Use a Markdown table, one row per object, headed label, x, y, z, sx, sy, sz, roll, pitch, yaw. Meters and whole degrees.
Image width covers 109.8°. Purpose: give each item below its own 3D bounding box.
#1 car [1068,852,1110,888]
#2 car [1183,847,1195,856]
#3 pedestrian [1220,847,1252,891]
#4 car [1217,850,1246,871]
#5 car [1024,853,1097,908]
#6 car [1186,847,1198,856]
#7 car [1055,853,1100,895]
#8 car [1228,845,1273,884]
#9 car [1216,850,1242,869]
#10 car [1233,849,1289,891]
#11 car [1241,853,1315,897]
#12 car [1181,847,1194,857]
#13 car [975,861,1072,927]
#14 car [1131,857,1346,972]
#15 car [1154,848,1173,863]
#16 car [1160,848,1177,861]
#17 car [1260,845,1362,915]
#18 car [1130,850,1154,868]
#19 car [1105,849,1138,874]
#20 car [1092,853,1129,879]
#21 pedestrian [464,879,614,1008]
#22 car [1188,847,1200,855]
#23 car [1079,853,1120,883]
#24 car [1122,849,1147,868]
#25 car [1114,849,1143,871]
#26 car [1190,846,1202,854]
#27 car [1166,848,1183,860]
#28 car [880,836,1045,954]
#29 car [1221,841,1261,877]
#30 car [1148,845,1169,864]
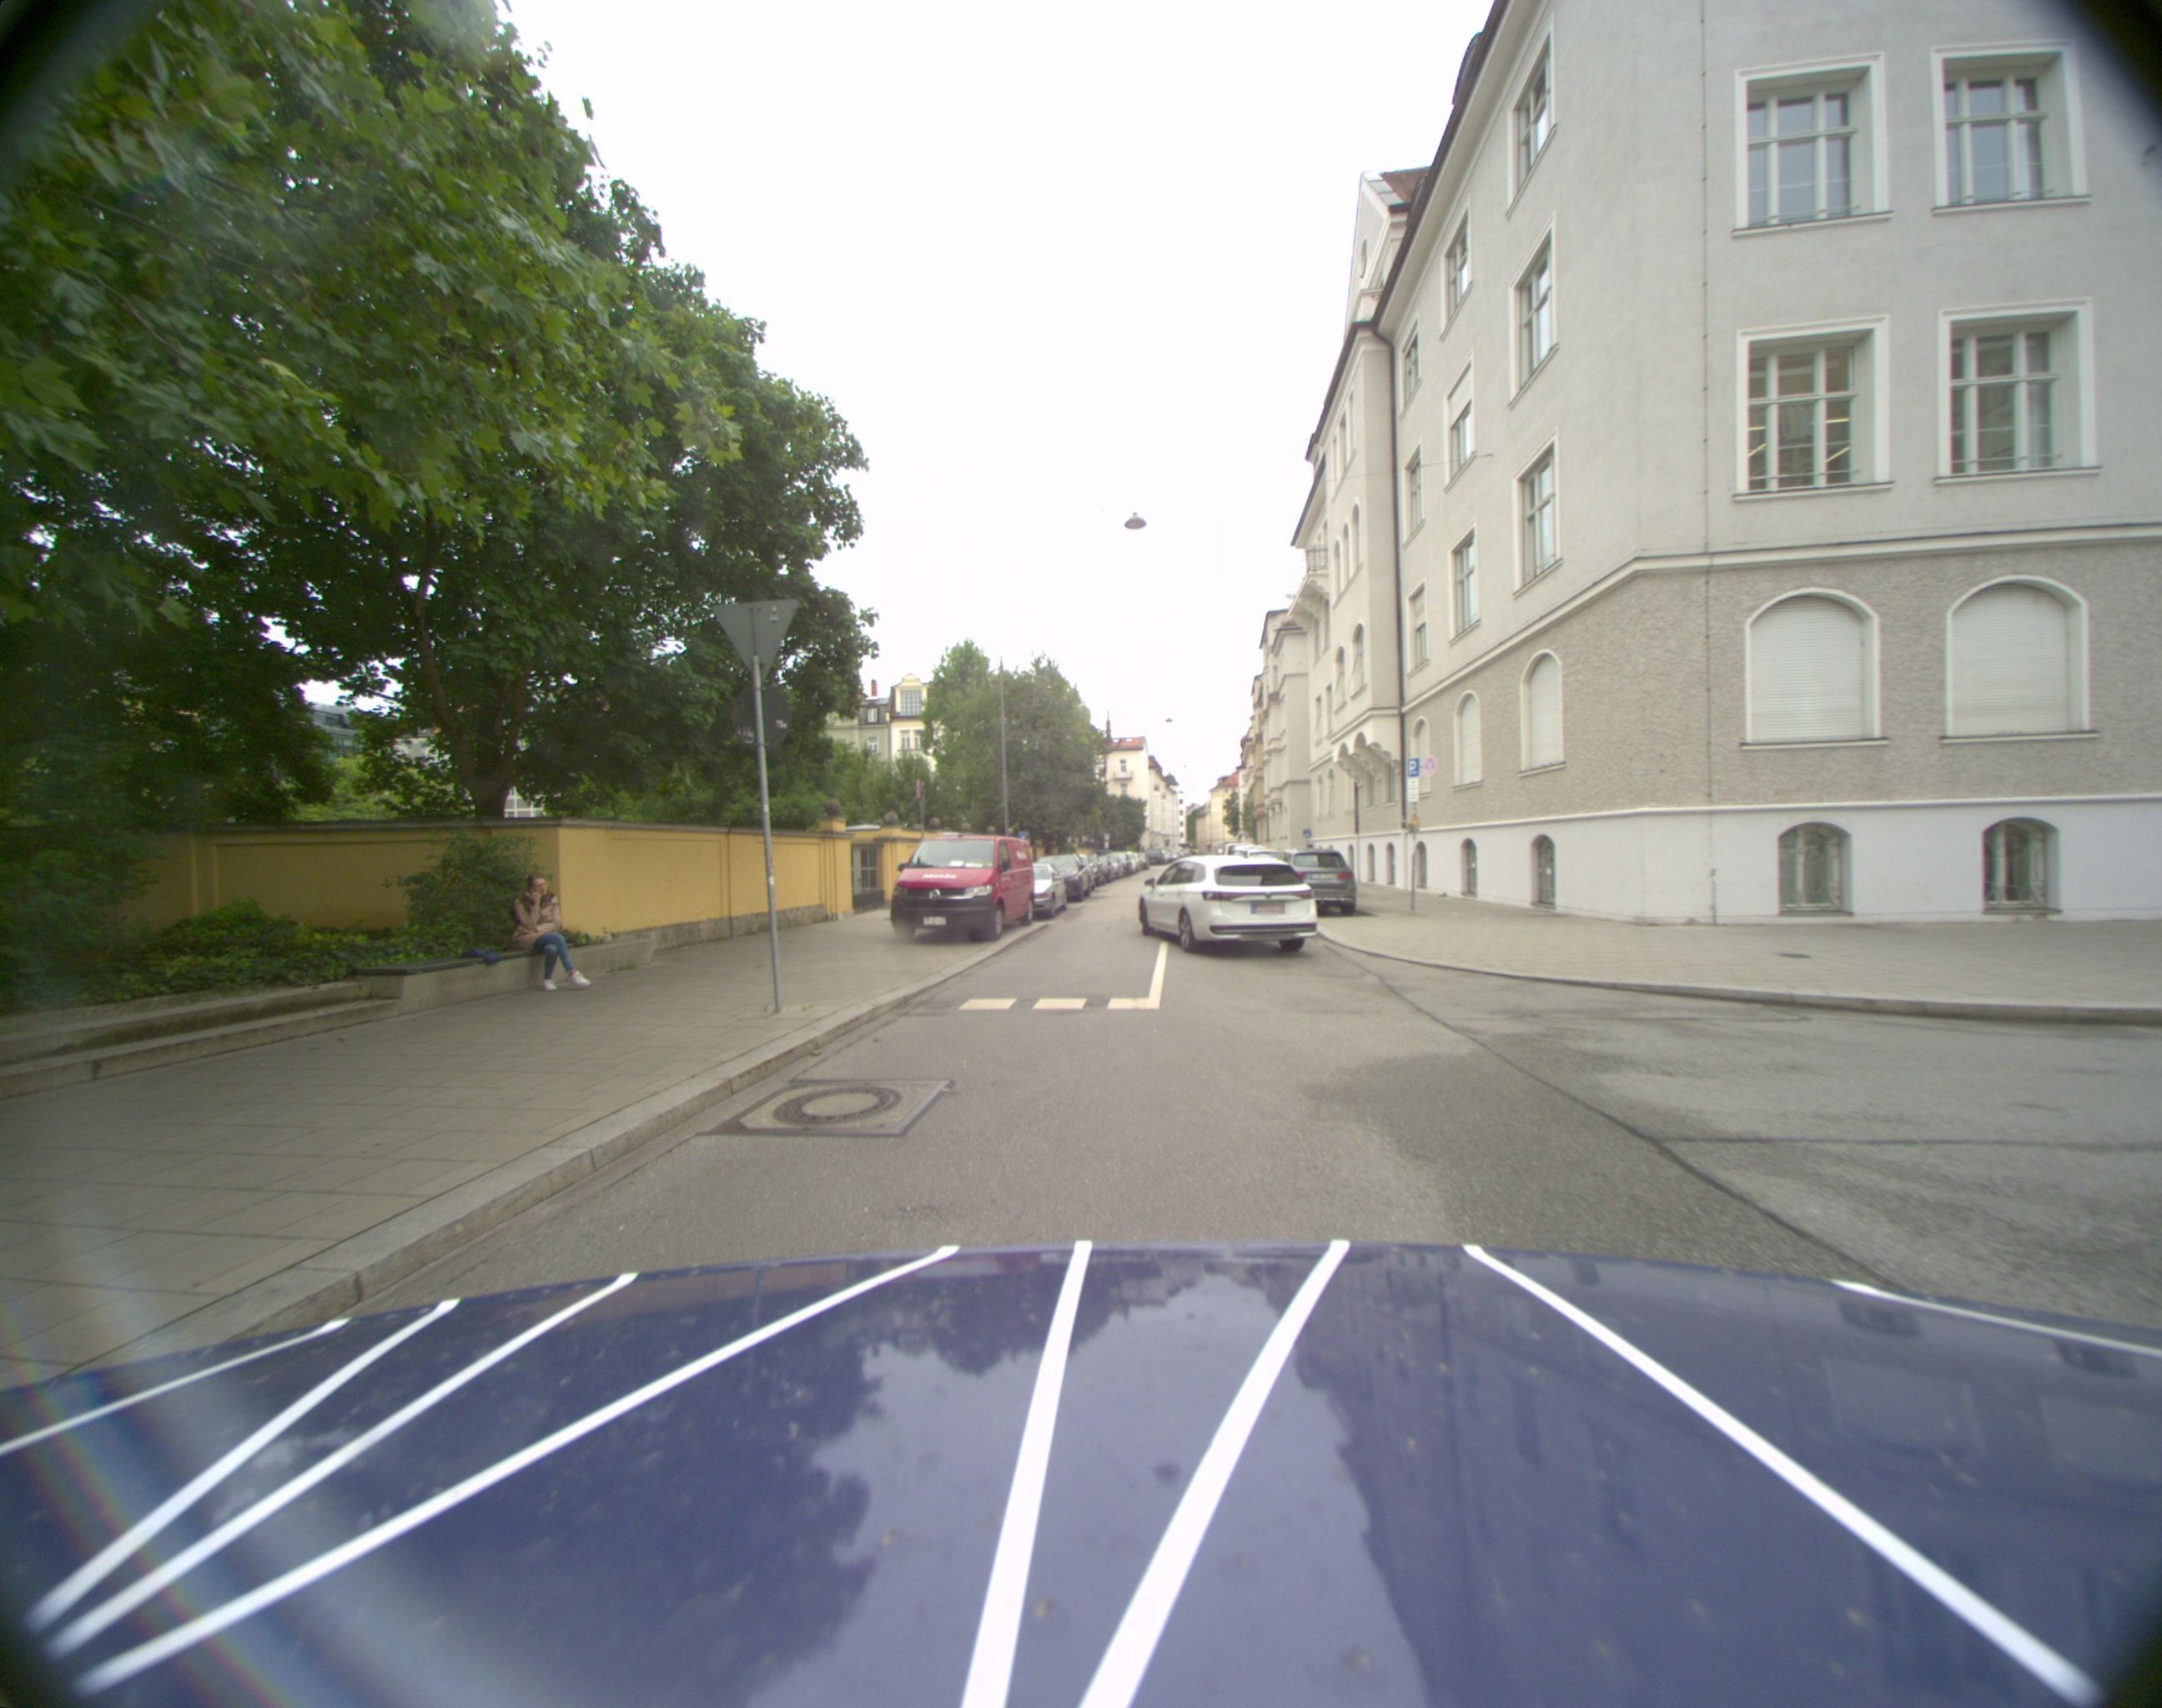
| label | x | y | z | sx | sy | sz | roll | pitch | yaw |
| --- | --- | --- | --- | --- | --- | --- | --- | --- | --- |
| car | 0.420 | 0.735 | 36.105 | 1.510 | 1.557 | 2.871 | -3 | 0 | 9 |
| car | 21.991 | -0.503 | 154.388 | 1.997 | 1.585 | 4.302 | -4 | -1 | 12 |
| pedestrian | 6.312 | 0.605 | 30.934 | 0.874 | 1.745 | 0.966 | -1 | 1 | 39 |
| car | 11.246 | 0.460 | 56.935 | 1.859 | 1.404 | 4.381 | 1 | 1 | 8 |
| car | -0.607 | 0.845 | 26.842 | 1.888 | 1.643 | 4.825 | -3 | 0 | 6 |
| car | 23.335 | -0.602 | 159.367 | 1.997 | 1.672 | 4.303 | -4 | -1 | 13 |
| car | -0.093 | 0.793 | 31.702 | 1.487 | 1.530 | 3.694 | -3 | 0 | 5 |
| car | 8.269 | 0.463 | 37.460 | 1.750 | 1.778 | 5.039 | 0 | 1 | 7 |
| car | 12.046 | 0.396 | 61.933 | 1.859 | 1.455 | 4.381 | 0 | 1 | 8 |
| car | 7.428 | 0.618 | 31.716 | 1.750 | 1.593 | 4.498 | 0 | 1 | 7 |
| car | 6.918 | 0.694 | 27.058 | 1.696 | 1.406 | 3.662 | 0 | 1 | 0 |
| car | 20.269 | -0.379 | 144.939 | 1.997 | 1.585 | 4.302 | -4 | -1 | 12 |
| car | -1.437 | 1.002 | 20.800 | 1.888 | 1.440 | 4.370 | -3 | 0 | 5 |
| car | 2.292 | 0.810 | 12.604 | 1.890 | 1.440 | 4.887 | -2 | 0 | -9 |
| car | 10.169 | 0.176 | 93.116 | 1.997 | 1.643 | 4.451 | -4 | -1 | 8 |
| car | 11.294 | 0.048 | 97.954 | 1.997 | 1.585 | 4.301 | -4 | -1 | 9 |
| car | 5.798 | 0.575 | 19.675 | 1.750 | 1.593 | 4.498 | 0 | 1 | 7 |
| car | 5.296 | 0.398 | 65.512 | 1.716 | 1.445 | 4.958 | -1 | 0 | 8 |
| car | 2.763 | 0.457 | 50.950 | 1.716 | 1.561 | 4.694 | -1 | 1 | 8 |
| car | 1.808 | 0.655 | 44.991 | 1.695 | 1.406 | 4.518 | -1 | 1 | 9 |
| pedestrian | -6.041 | 0.966 | 8.518 | 1.011 | 1.330 | 0.877 | -1 | 1 | 11 |
| car | 24.507 | -0.660 | 164.683 | 1.997 | 1.585 | 4.431 | -4 | -1 | 13 |
| car | 1.022 | 0.691 | 40.062 | 1.695 | 1.406 | 4.038 | -3 | 0 | 7 |
| car | 4.322 | 0.360 | 60.853 | 1.716 | 1.445 | 4.186 | -1 | 1 | 8 |
| car | 3.551 | 0.400 | 56.185 | 1.716 | 1.561 | 4.322 | -1 | 1 | 8 |
| car | 25.714 | -0.859 | 169.418 | 1.996 | 1.585 | 4.303 | -4 | -1 | 15 |
| car | 13.520 | 0.026 | 109.971 | 1.997 | 1.585 | 4.302 | -4 | -1 | 12 |
| car | -2.101 | 0.669 | 15.095 | 1.877 | 1.909 | 4.890 | -3 | 0 | 7 |
| car | 9.101 | 0.232 | 43.565 | 1.859 | 1.927 | 4.960 | 0 | 1 | 7 |
| car | 8.479 | 0.051 | 83.062 | 1.997 | 1.949 | 4.436 | -4 | -1 | 8 |
